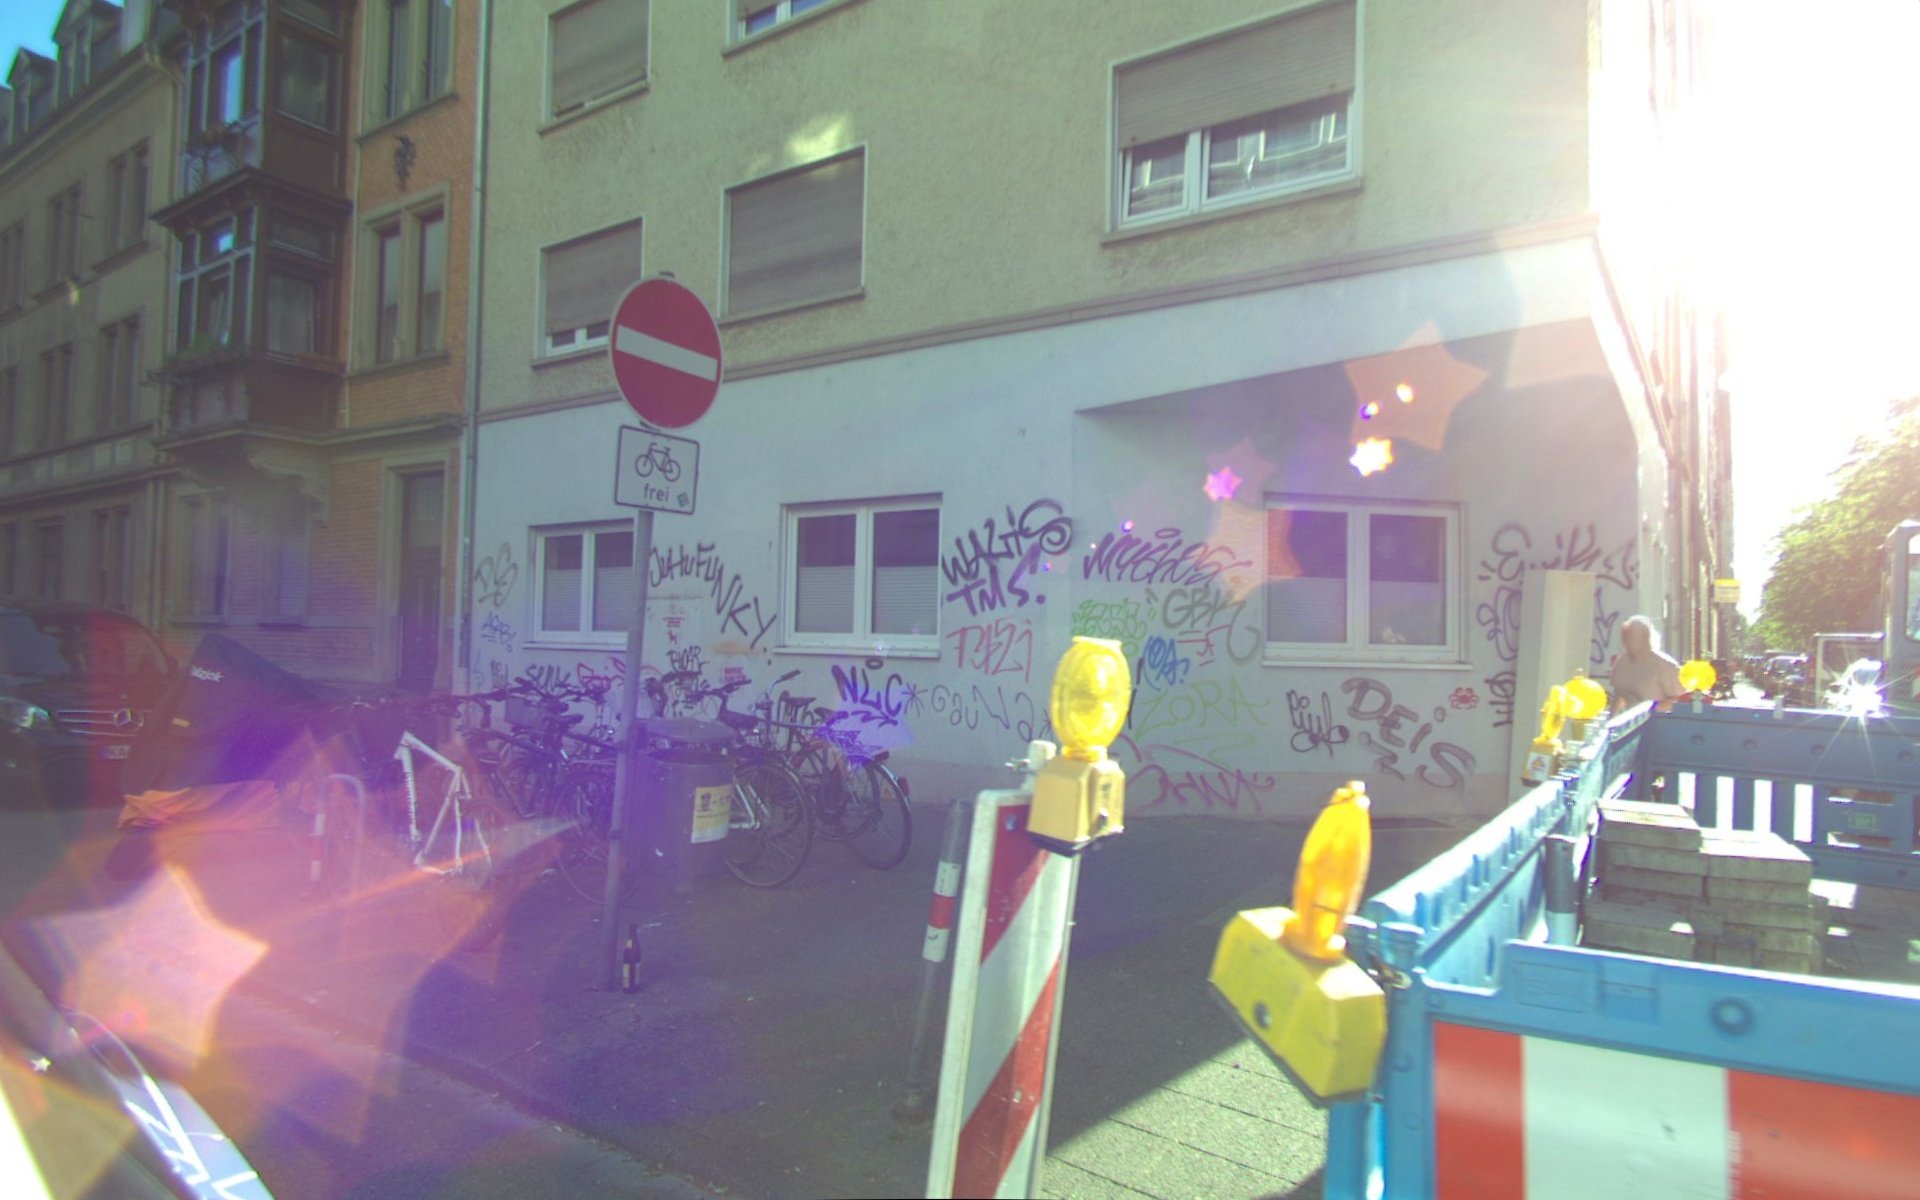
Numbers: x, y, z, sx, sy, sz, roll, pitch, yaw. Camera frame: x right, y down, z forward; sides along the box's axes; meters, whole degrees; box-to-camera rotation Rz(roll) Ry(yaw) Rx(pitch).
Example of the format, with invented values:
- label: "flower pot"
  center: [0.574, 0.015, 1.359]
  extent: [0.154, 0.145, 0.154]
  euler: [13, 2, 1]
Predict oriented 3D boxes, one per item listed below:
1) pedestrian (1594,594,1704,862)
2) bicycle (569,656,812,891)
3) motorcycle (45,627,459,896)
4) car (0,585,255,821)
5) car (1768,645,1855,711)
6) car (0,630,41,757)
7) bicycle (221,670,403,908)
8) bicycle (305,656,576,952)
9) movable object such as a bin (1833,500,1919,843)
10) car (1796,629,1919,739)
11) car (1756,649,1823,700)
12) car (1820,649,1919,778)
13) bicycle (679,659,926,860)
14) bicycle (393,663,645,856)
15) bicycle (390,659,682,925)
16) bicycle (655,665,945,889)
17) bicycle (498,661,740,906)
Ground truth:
- label: "pedestrian"
  center: [4.761, 0.850, 7.025]
  extent: [0.555, 1.754, 0.521]
  euler: [0, -3, 28]
- label: "bicycle"
  center: [-1.621, 0.957, 5.953]
  extent: [1.693, 1.237, 0.292]
  euler: [-2, -4, 32]
- label: "motorcycle"
  center: [-4.653, 0.965, 7.013]
  extent: [0.892, 1.493, 2.516]
  euler: [1, -3, 5]
- label: "car"
  center: [-8.708, 0.831, 9.414]
  extent: [4.318, 1.780, 1.806]
  euler: [0, -3, 30]
- label: "car"
  center: [25.530, 2.312, 30.456]
  extent: [1.833, 1.813, 3.948]
  euler: [-1, -3, 38]
- label: "car"
  center: [-12.834, 1.076, 12.206]
  extent: [3.633, 1.461, 1.664]
  euler: [-1, -3, 33]
- label: "bicycle"
  center: [-3.668, 0.997, 5.700]
  extent: [1.288, 1.164, 0.372]
  euler: [-1, -4, 36]
- label: "bicycle"
  center: [-2.505, 0.892, 4.835]
  extent: [1.500, 1.237, 0.396]
  euler: [-2, -5, 32]
- label: "movable object such as a bin"
  center: [8.747, 0.600, 8.357]
  extent: [2.066, 2.621, 2.727]
  euler: [-1, -4, 37]
- label: "car"
  center: [18.191, 1.637, 20.241]
  extent: [1.996, 1.954, 4.555]
  euler: [0, -3, 36]
- label: "car"
  center: [31.637, 2.817, 38.673]
  extent: [1.833, 1.813, 3.948]
  euler: [-1, -3, 38]
- label: "car"
  center: [13.516, 1.558, 14.233]
  extent: [1.906, 1.578, 4.150]
  euler: [2, -2, 38]
- label: "bicycle"
  center: [-1.105, 1.030, 6.906]
  extent: [1.808, 1.237, 0.396]
  euler: [-2, -4, 30]
- label: "bicycle"
  center: [-3.110, 1.049, 7.089]
  extent: [1.863, 1.164, 0.543]
  euler: [0, -3, 28]
- label: "bicycle"
  center: [-2.302, 0.938, 5.402]
  extent: [1.867, 1.237, 0.396]
  euler: [-2, -5, 32]
- label: "bicycle"
  center: [-1.050, 1.027, 6.331]
  extent: [2.023, 1.237, 0.396]
  euler: [-2, -4, 32]
- label: "bicycle"
  center: [-1.950, 0.967, 5.717]
  extent: [1.547, 1.237, 0.360]
  euler: [-2, -5, 31]
